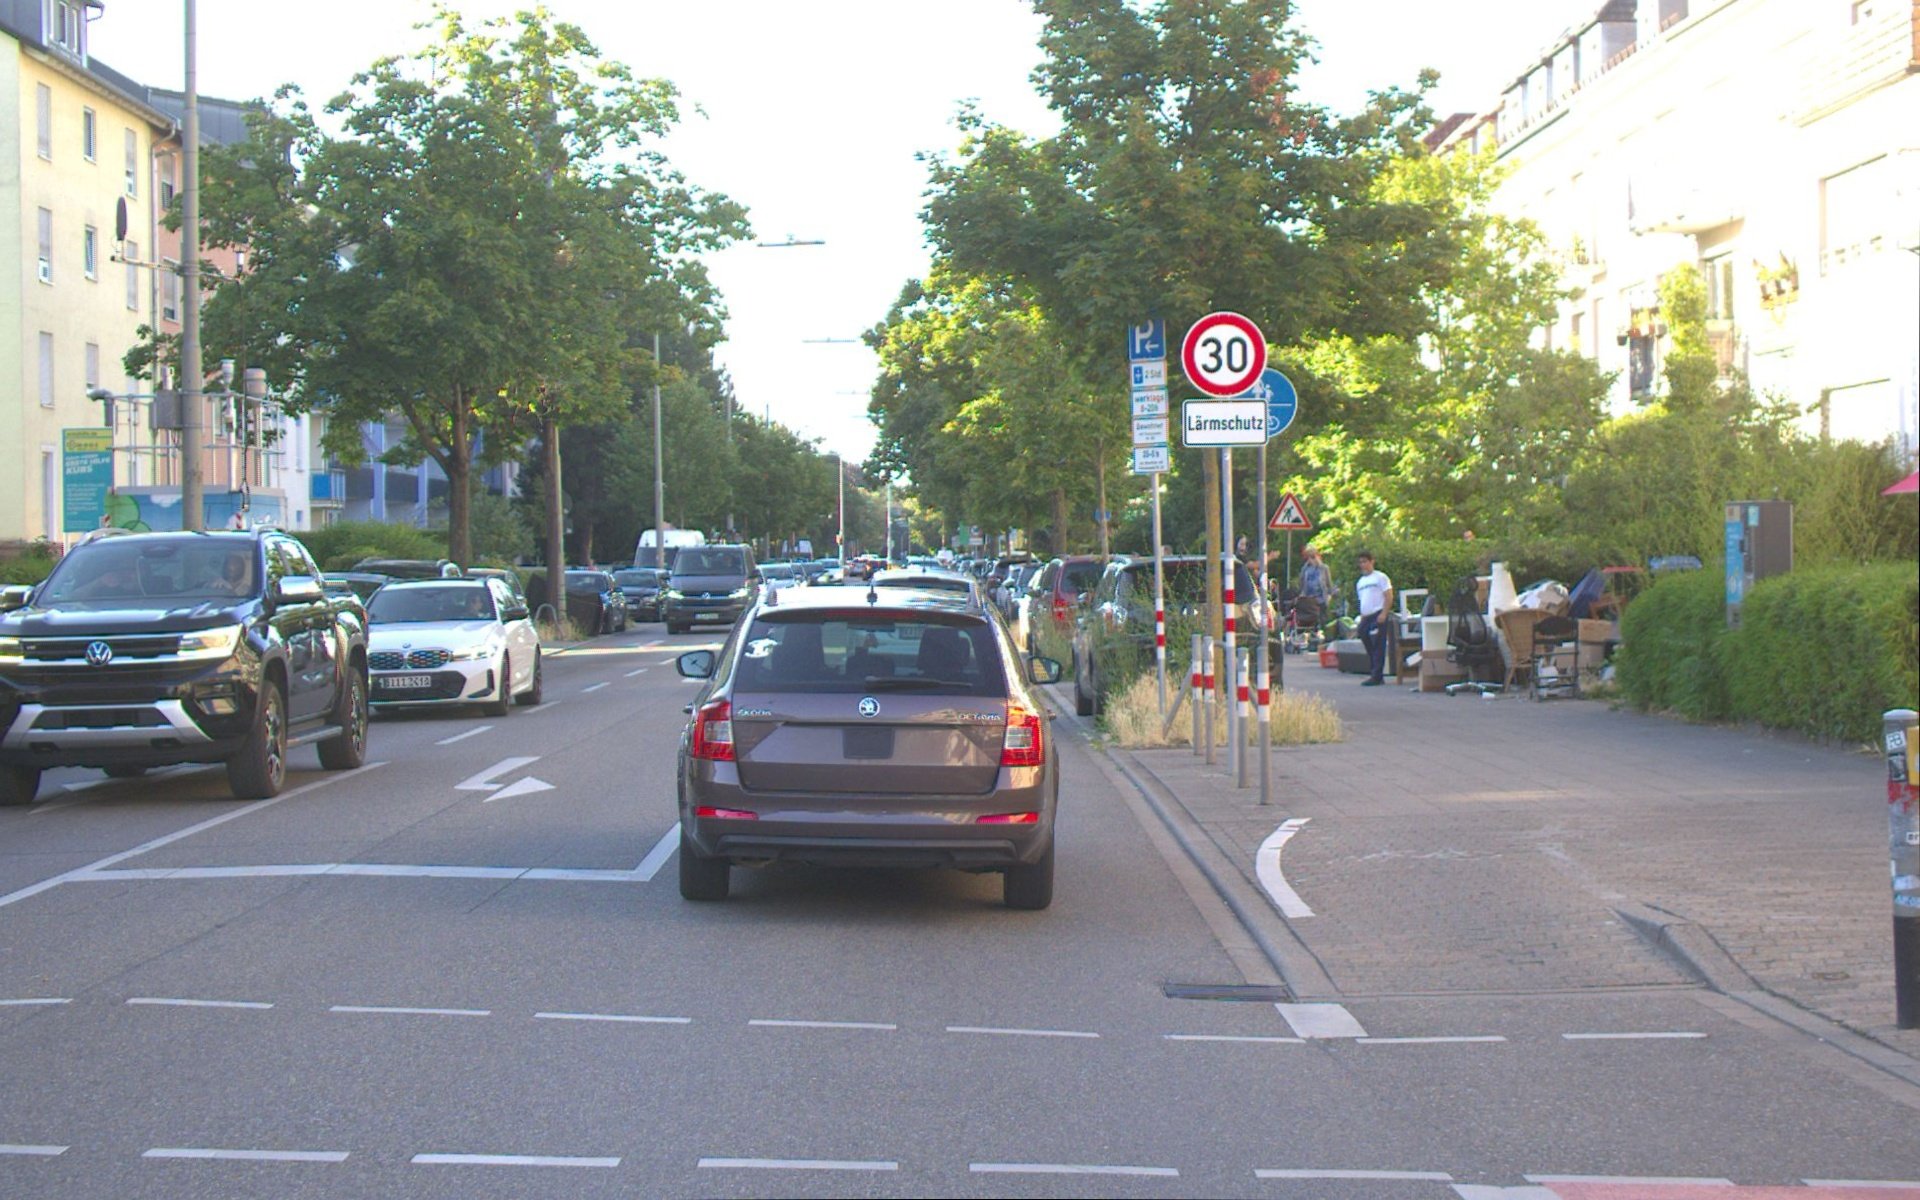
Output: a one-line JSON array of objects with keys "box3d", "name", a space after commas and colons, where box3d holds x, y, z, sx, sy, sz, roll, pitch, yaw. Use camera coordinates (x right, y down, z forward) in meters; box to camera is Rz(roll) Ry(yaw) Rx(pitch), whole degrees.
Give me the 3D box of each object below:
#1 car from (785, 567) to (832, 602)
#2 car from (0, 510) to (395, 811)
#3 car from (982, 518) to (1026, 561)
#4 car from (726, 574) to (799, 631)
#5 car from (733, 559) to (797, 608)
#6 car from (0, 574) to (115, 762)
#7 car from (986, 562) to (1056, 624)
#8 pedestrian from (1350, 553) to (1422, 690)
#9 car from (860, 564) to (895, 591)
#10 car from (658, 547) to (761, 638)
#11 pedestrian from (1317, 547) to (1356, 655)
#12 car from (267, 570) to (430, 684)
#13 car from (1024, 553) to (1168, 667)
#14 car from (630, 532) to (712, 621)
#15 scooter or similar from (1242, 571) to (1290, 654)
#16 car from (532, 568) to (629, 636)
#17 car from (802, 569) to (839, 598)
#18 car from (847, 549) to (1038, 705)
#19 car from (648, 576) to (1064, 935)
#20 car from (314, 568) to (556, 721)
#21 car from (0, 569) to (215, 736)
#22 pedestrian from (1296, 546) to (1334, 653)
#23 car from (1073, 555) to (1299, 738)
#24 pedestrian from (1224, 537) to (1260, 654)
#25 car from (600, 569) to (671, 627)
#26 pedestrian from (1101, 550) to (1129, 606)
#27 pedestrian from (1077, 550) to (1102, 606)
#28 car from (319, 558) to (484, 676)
[{"box3d": [-6.603, -0.678, 150.281, 1.700, 1.465, 4.294, -1, 1, 2], "name": "car"}, {"box3d": [-5.364, 0.362, 24.074, 1.862, 1.823, 5.227, -2, 0, 0], "name": "car"}, {"box3d": [1.819, -2.483, 141.513, 1.754, 1.681, 4.252, 1, 1, 1], "name": "car"}, {"box3d": [-5.358, 0.046, 93.735, 1.815, 1.441, 4.111, -3, 1, -2], "name": "car"}, {"box3d": [-6.333, -0.542, 112.222, 1.832, 1.465, 4.452, -3, 1, -1], "name": "car"}, {"box3d": [-8.355, 0.526, 28.551, 1.653, 1.474, 3.943, 0, 1, 1], "name": "car"}, {"box3d": [1.614, -0.204, 92.339, 1.718, 1.595, 4.096, 0, 1, -1], "name": "car"}, {"box3d": [4.929, 0.240, 39.807, 0.555, 1.562, 0.748, 0, 0, -18], "name": "pedestrian"}, {"box3d": [-5.435, -1.510, 227.193, 1.993, 1.744, 4.001, 0, 1, -6], "name": "car"}, {"box3d": [-5.688, -0.188, 78.476, 1.993, 1.939, 4.778, -2, 1, -1], "name": "car"}, {"box3d": [5.902, 0.008, 53.903, 0.510, 1.691, 0.527, 0, 0, -5], "name": "pedestrian"}, {"box3d": [-8.536, 0.348, 48.250, 1.682, 1.516, 4.191, 0, 1, -2], "name": "car"}, {"box3d": [2.007, 0.121, 51.926, 1.721, 1.650, 4.598, 0, 1, -3], "name": "car"}, {"box3d": [-8.793, -0.738, 105.093, 1.993, 2.607, 7.106, 1, 1, -1], "name": "car"}, {"box3d": [4.853, 0.190, 54.493, 0.746, 1.313, 0.721, 0, 0, 6], "name": "scooter or similar"}, {"box3d": [-8.678, 0.022, 78.848, 1.778, 1.499, 4.589, 0, 1, -1], "name": "car"}, {"box3d": [-7.413, -0.889, 182.160, 1.879, 1.537, 4.268, 0, 1, -4], "name": "car"}, {"box3d": [-0.214, 0.296, 37.283, 1.892, 1.501, 3.790, 3, -1, -1], "name": "car"}, {"box3d": [-0.409, 0.652, 16.760, 1.754, 1.487, 4.000, 1, 1, 1], "name": "car"}, {"box3d": [-5.486, 0.421, 36.478, 1.836, 1.468, 4.671, -2, 1, 0], "name": "car"}, {"box3d": [-8.434, 0.468, 33.699, 1.637, 1.547, 3.786, 0, 1, -3], "name": "car"}, {"box3d": [5.646, -0.016, 54.737, 0.510, 1.691, 0.527, 0, 0, -5], "name": "pedestrian"}, {"box3d": [2.085, 0.391, 32.670, 1.792, 1.626, 4.029, 0, 1, -1], "name": "car"}, {"box3d": [4.469, -0.073, 54.535, 0.548, 1.843, 0.764, 0, 0, 6], "name": "pedestrian"}, {"box3d": [-8.836, -0.069, 93.801, 1.612, 1.468, 3.813, 2, 1, -1], "name": "car"}, {"box3d": [5.213, -0.743, 115.625, 0.799, 1.854, 0.950, -1, 0, 10], "name": "pedestrian"}, {"box3d": [4.377, -0.752, 116.006, 0.749, 1.854, 1.068, -1, 0, -1], "name": "pedestrian"}, {"box3d": [-8.569, 0.233, 53.113, 1.784, 1.727, 4.617, 0, 1, 0], "name": "car"}]
